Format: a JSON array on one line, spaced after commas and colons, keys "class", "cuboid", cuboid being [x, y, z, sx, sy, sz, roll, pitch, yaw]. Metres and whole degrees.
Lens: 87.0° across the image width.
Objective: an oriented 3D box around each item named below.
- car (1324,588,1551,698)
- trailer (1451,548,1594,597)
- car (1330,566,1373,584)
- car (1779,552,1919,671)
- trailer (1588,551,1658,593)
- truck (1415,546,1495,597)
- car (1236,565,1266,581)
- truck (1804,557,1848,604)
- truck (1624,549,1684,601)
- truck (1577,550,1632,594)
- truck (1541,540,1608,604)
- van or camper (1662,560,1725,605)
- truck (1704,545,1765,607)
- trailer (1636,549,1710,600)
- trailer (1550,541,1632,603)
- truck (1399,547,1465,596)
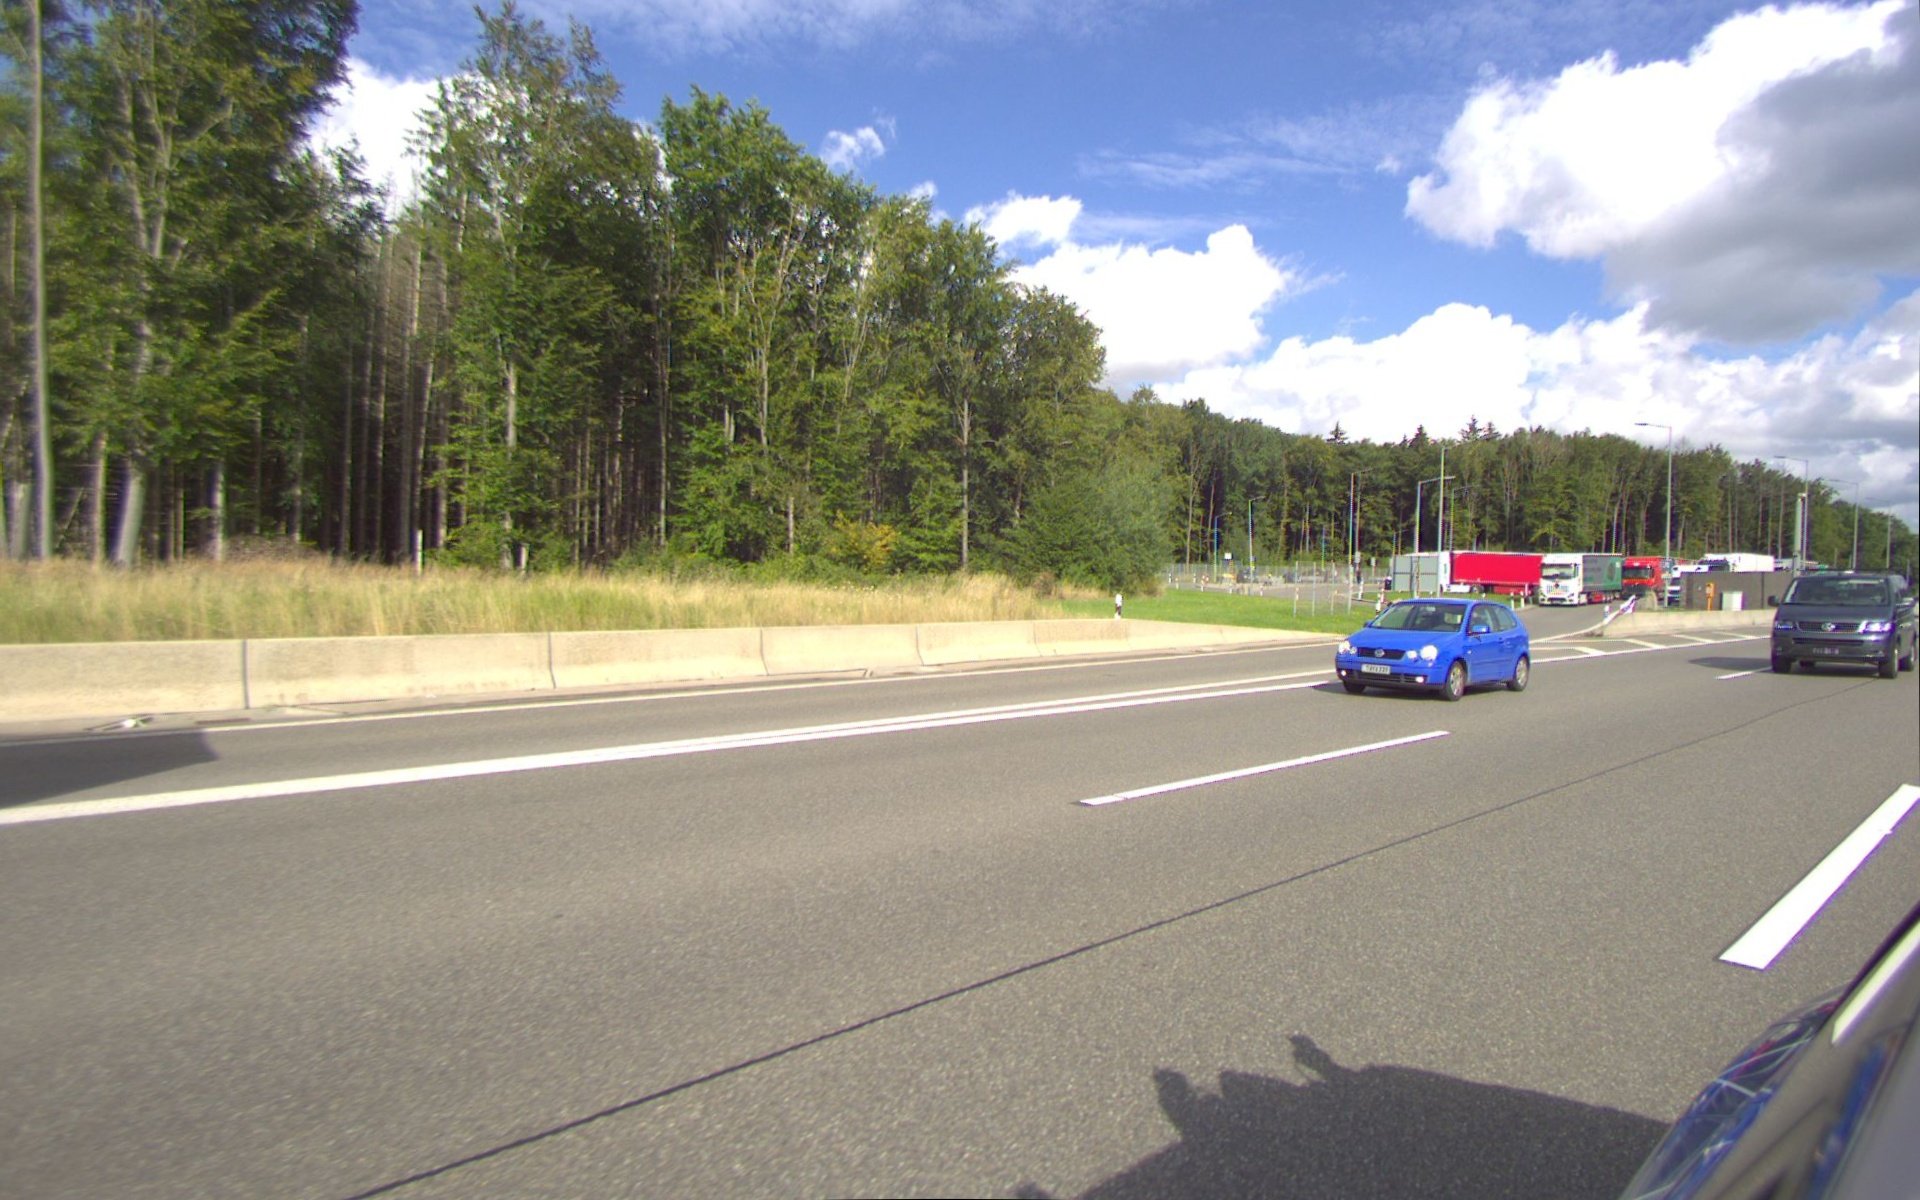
[{"class": "car", "cuboid": [7.332, 0.559, 15.378, 3.929, 1.460, 1.653, 0, 1, -40]}, {"class": "trailer", "cuboid": [51.697, -2.511, 93.210, 11.187, 4.429, 2.841, 1, 0, 7]}, {"class": "car", "cuboid": [44.155, -2.804, 114.203, 1.966, 1.938, 3.993, 0, 2, -42]}, {"class": "car", "cuboid": [18.294, 0.198, 20.550, 4.847, 2.136, 1.852, 0, 0, -42]}, {"class": "trailer", "cuboid": [66.606, -2.738, 101.503, 11.872, 4.075, 2.996, -1, 0, -42]}, {"class": "truck", "cuboid": [45.843, -2.635, 93.847, 5.991, 4.564, 2.876, 0, 0, 6]}, {"class": "car", "cuboid": [32.100, -3.011, 111.774, 1.920, 1.704, 4.003, 1, 2, -2]}, {"class": "truck", "cuboid": [95.216, -2.138, 111.203, 6.848, 4.986, 2.659, 0, 2, -42]}, {"class": "truck", "cuboid": [63.509, -2.262, 92.543, 6.914, 4.563, 2.876, 0, 1, -41]}, {"class": "truck", "cuboid": [62.123, -2.669, 97.486, 6.148, 4.075, 2.979, -1, 0, -42]}, {"class": "truck", "cuboid": [46.242, -2.081, 76.065, 2.871, 4.563, 7.067, 2, 2, 43]}, {"class": "van or camper", "cuboid": [54.471, -1.283, 75.113, 4.652, 3.237, 2.396, 0, 1, -35]}, {"class": "truck", "cuboid": [64.064, -1.952, 83.647, 6.864, 4.986, 2.659, 0, 2, -42]}, {"class": "trailer", "cuboid": [68.373, -2.332, 96.908, 13.457, 4.563, 2.876, 0, 1, -42]}, {"class": "trailer", "cuboid": [50.689, -2.167, 81.057, 2.872, 4.563, 12.796, 2, 2, 44]}, {"class": "truck", "cuboid": [45.520, -2.720, 97.741, 5.032, 4.564, 2.893, 1, 1, 5]}]
